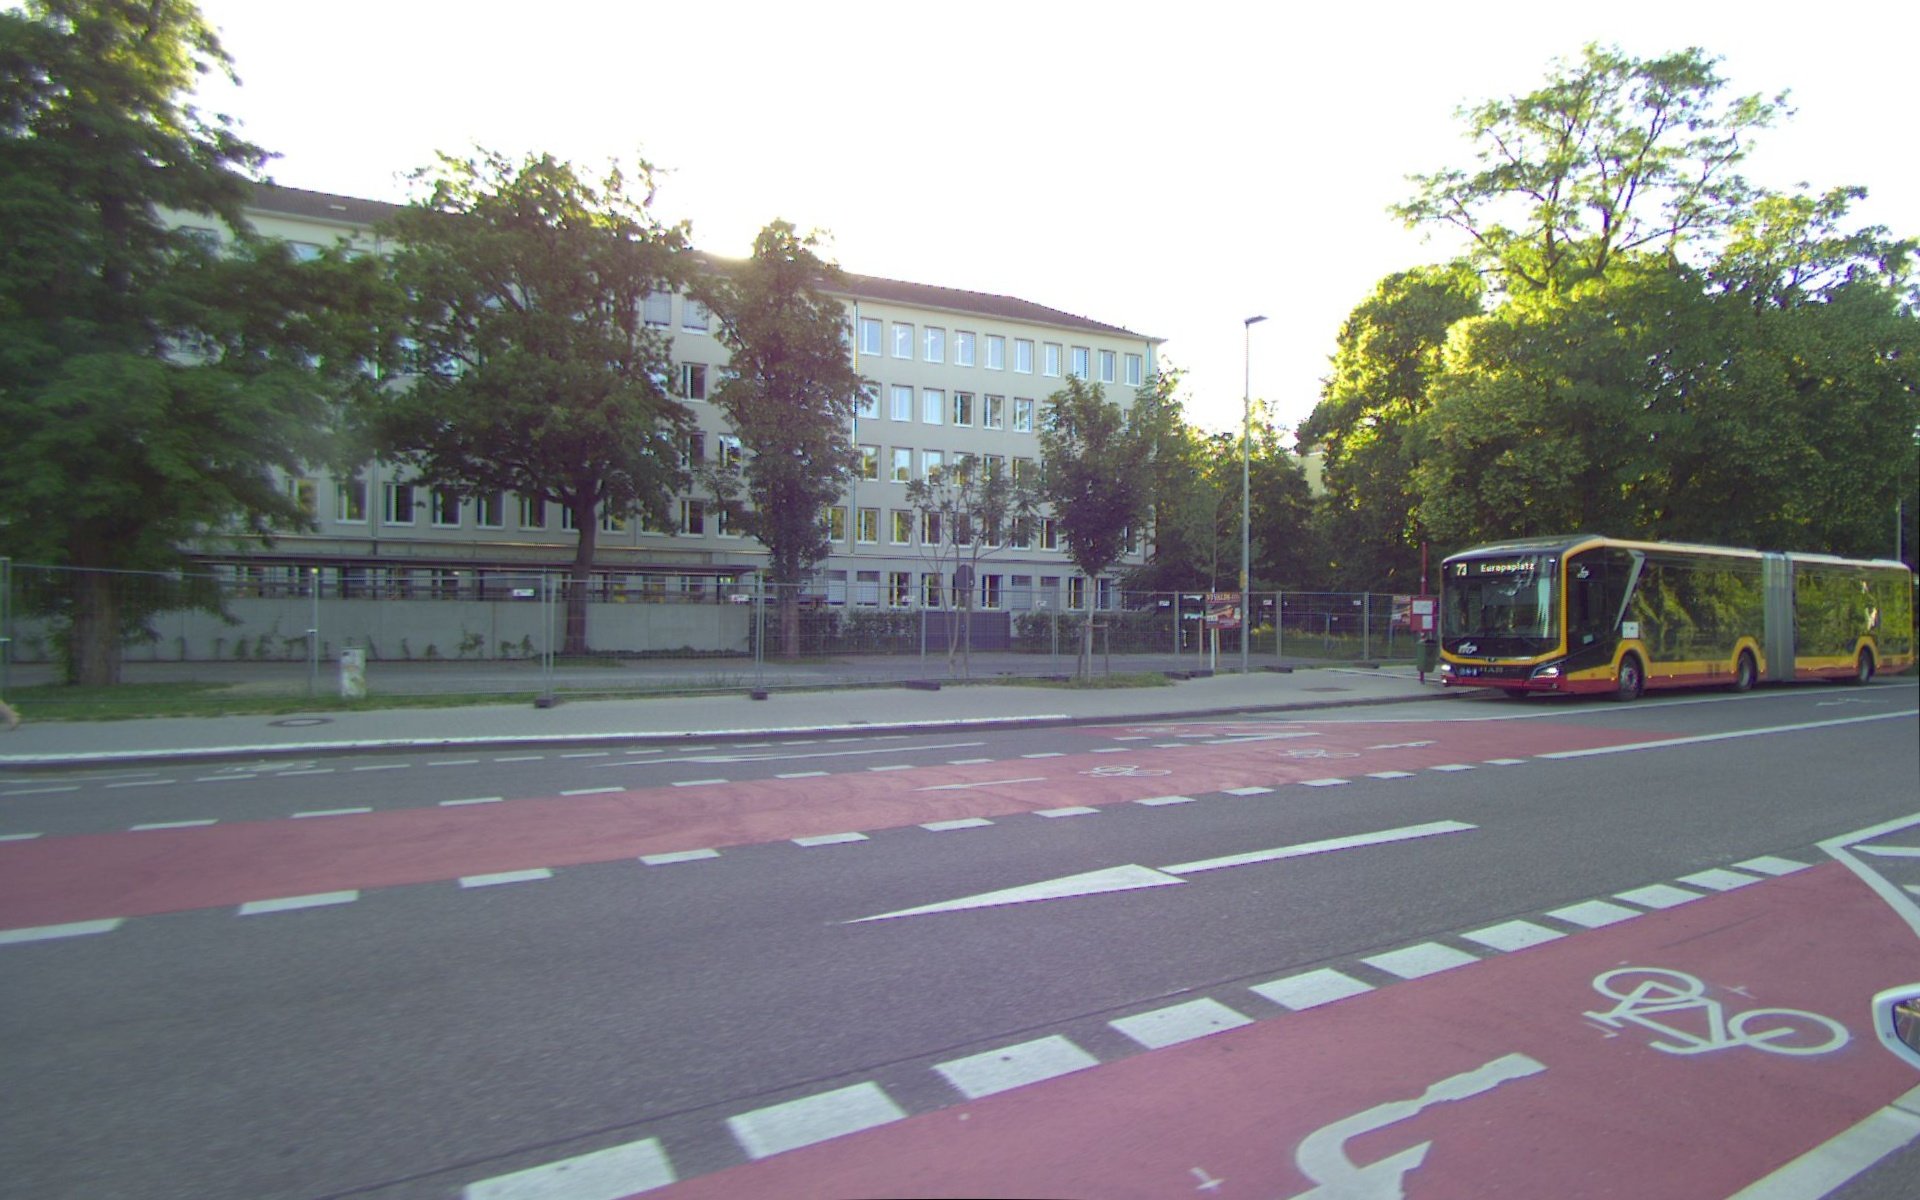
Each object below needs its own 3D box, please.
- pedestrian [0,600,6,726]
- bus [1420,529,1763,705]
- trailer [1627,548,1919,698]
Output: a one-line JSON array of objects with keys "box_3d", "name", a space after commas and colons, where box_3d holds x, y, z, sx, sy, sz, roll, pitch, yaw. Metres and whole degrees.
[{"box_3d": [-11.995, 0.768, 12.154, 0.566, 1.554, 0.448, 1, -1, -36], "name": "pedestrian"}, {"box_3d": [13.907, 0.399, 21.848, 8.500, 3.239, 2.826, 1, -1, -31], "name": "bus"}, {"box_3d": [21.510, 0.578, 26.344, 9.253, 3.400, 2.840, 2, 1, -31], "name": "trailer"}]
